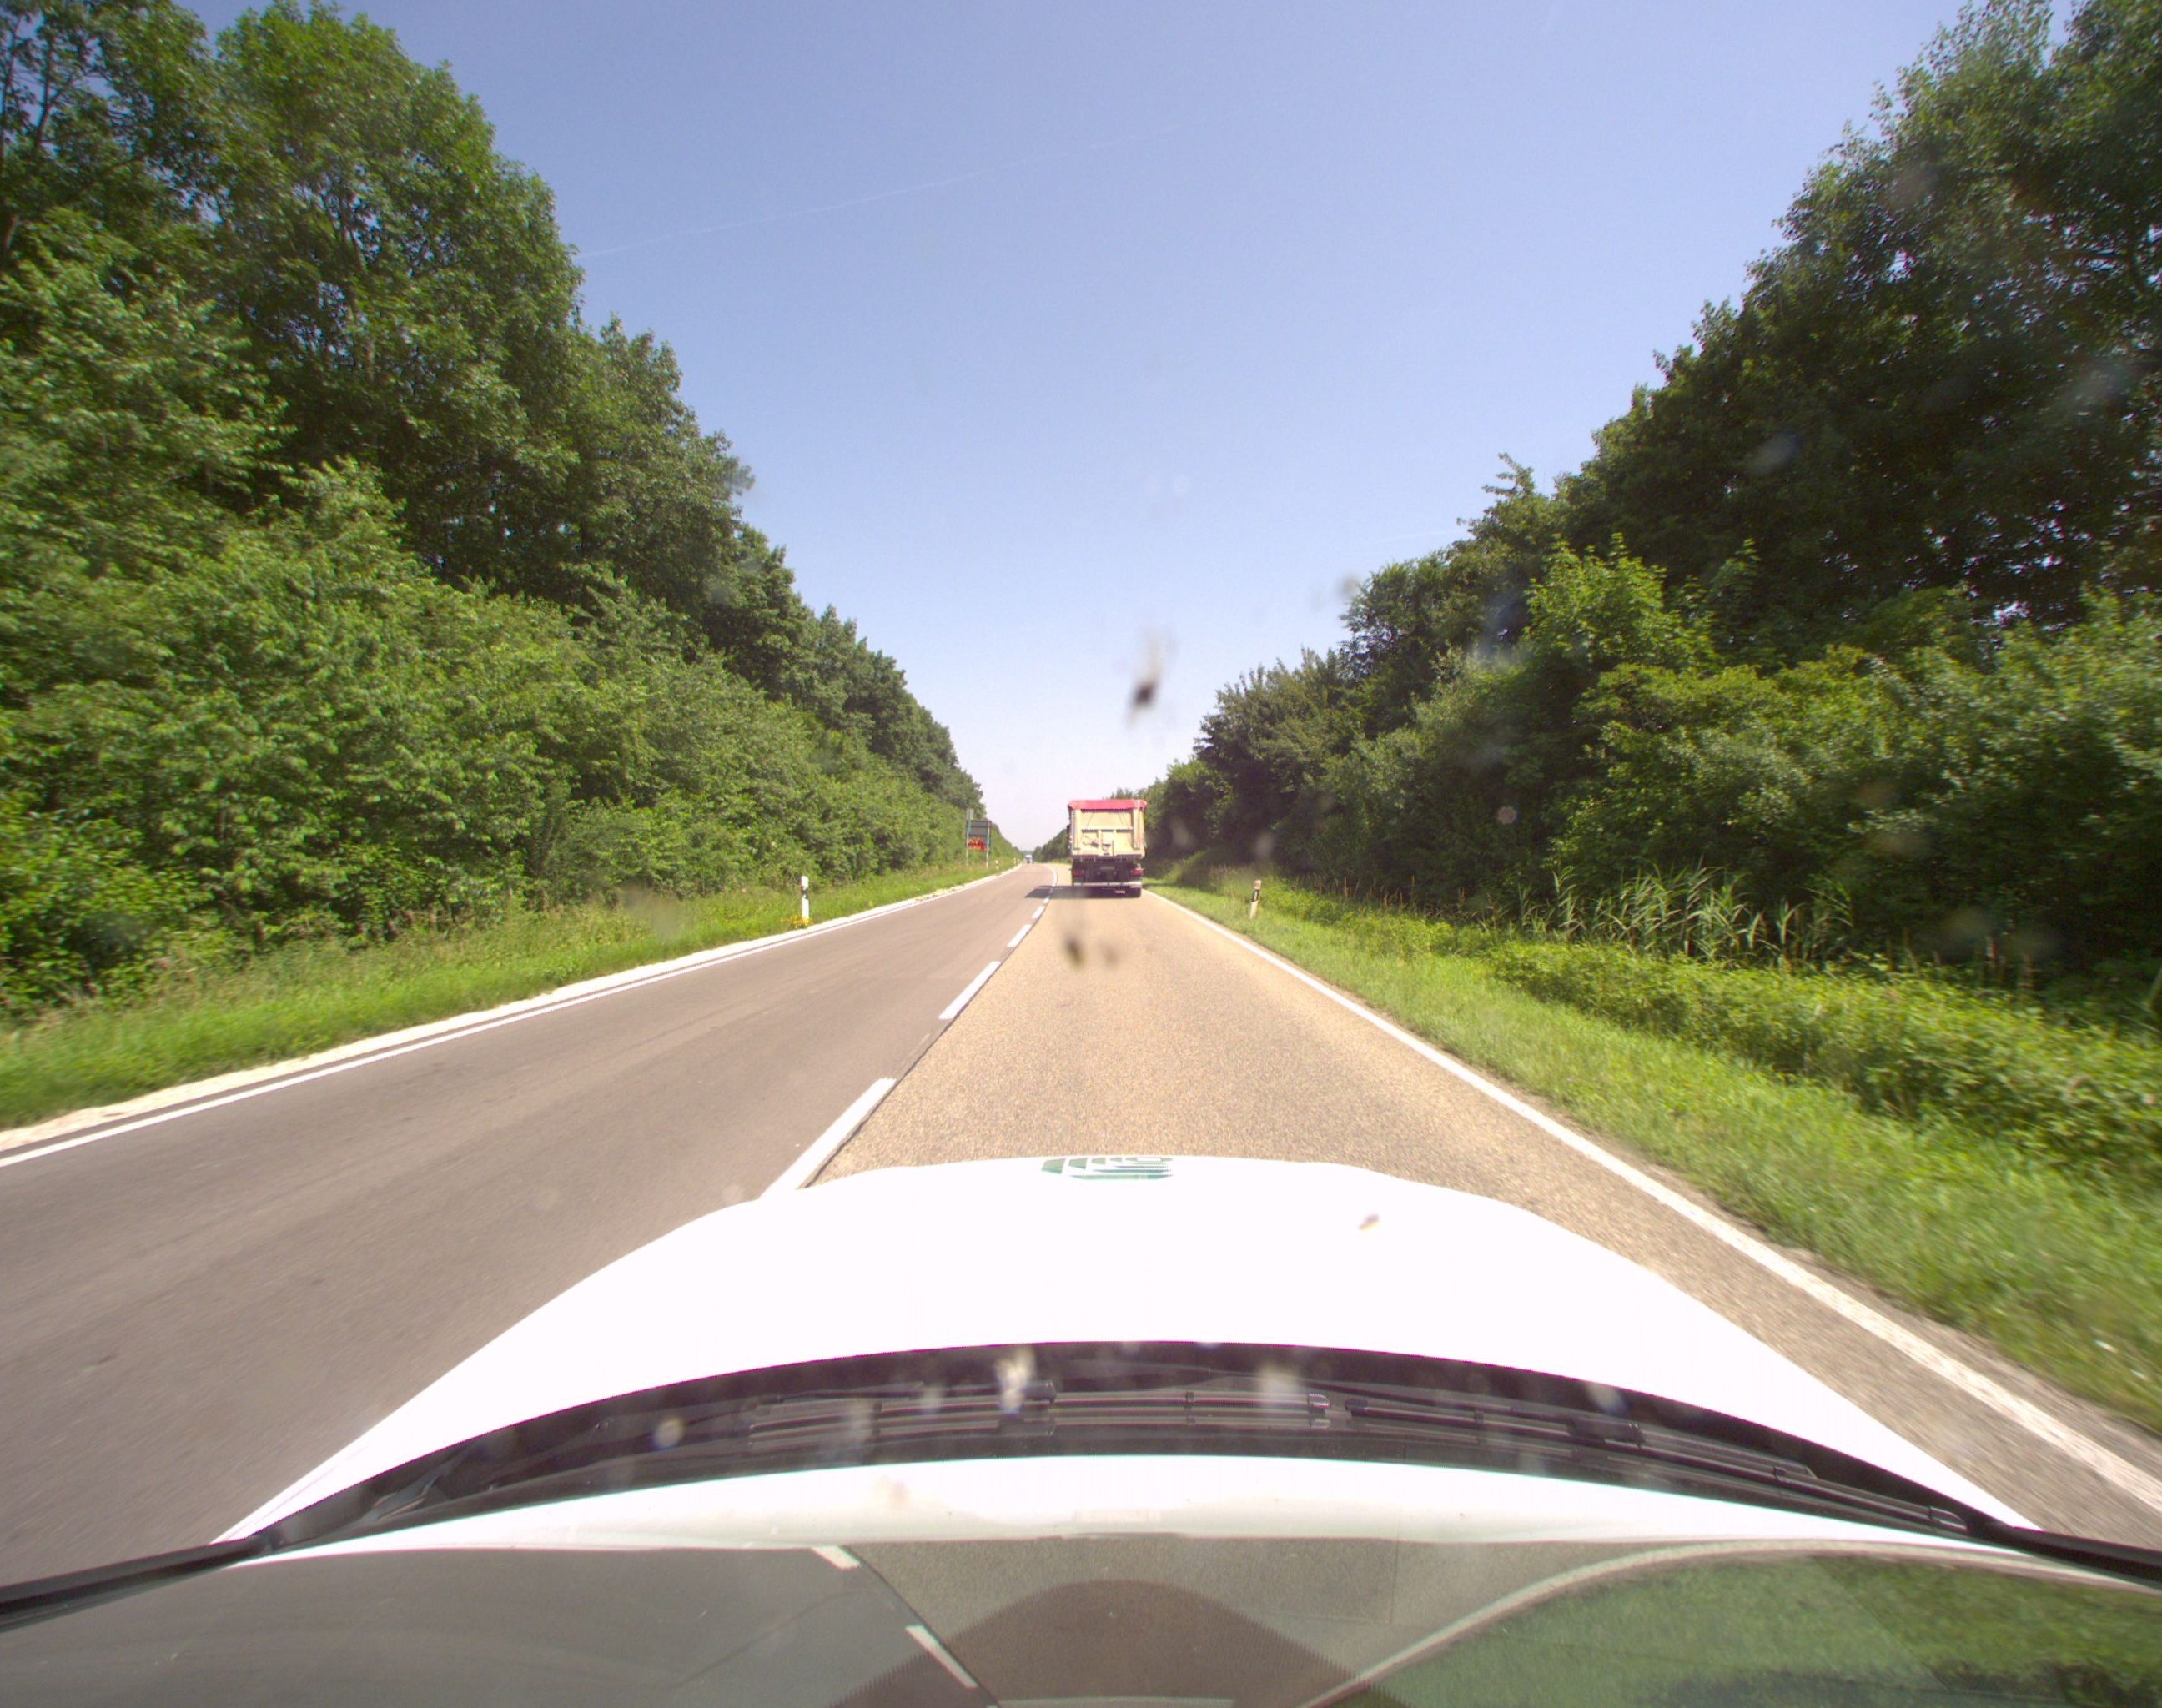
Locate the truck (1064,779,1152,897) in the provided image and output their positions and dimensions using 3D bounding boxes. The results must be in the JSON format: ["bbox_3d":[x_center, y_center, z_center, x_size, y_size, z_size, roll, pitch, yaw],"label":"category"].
[{"bbox_3d":[0.787,-0.549,33.269,2.885,3.962,11.925,0,0,-1],"label":"truck"}]
